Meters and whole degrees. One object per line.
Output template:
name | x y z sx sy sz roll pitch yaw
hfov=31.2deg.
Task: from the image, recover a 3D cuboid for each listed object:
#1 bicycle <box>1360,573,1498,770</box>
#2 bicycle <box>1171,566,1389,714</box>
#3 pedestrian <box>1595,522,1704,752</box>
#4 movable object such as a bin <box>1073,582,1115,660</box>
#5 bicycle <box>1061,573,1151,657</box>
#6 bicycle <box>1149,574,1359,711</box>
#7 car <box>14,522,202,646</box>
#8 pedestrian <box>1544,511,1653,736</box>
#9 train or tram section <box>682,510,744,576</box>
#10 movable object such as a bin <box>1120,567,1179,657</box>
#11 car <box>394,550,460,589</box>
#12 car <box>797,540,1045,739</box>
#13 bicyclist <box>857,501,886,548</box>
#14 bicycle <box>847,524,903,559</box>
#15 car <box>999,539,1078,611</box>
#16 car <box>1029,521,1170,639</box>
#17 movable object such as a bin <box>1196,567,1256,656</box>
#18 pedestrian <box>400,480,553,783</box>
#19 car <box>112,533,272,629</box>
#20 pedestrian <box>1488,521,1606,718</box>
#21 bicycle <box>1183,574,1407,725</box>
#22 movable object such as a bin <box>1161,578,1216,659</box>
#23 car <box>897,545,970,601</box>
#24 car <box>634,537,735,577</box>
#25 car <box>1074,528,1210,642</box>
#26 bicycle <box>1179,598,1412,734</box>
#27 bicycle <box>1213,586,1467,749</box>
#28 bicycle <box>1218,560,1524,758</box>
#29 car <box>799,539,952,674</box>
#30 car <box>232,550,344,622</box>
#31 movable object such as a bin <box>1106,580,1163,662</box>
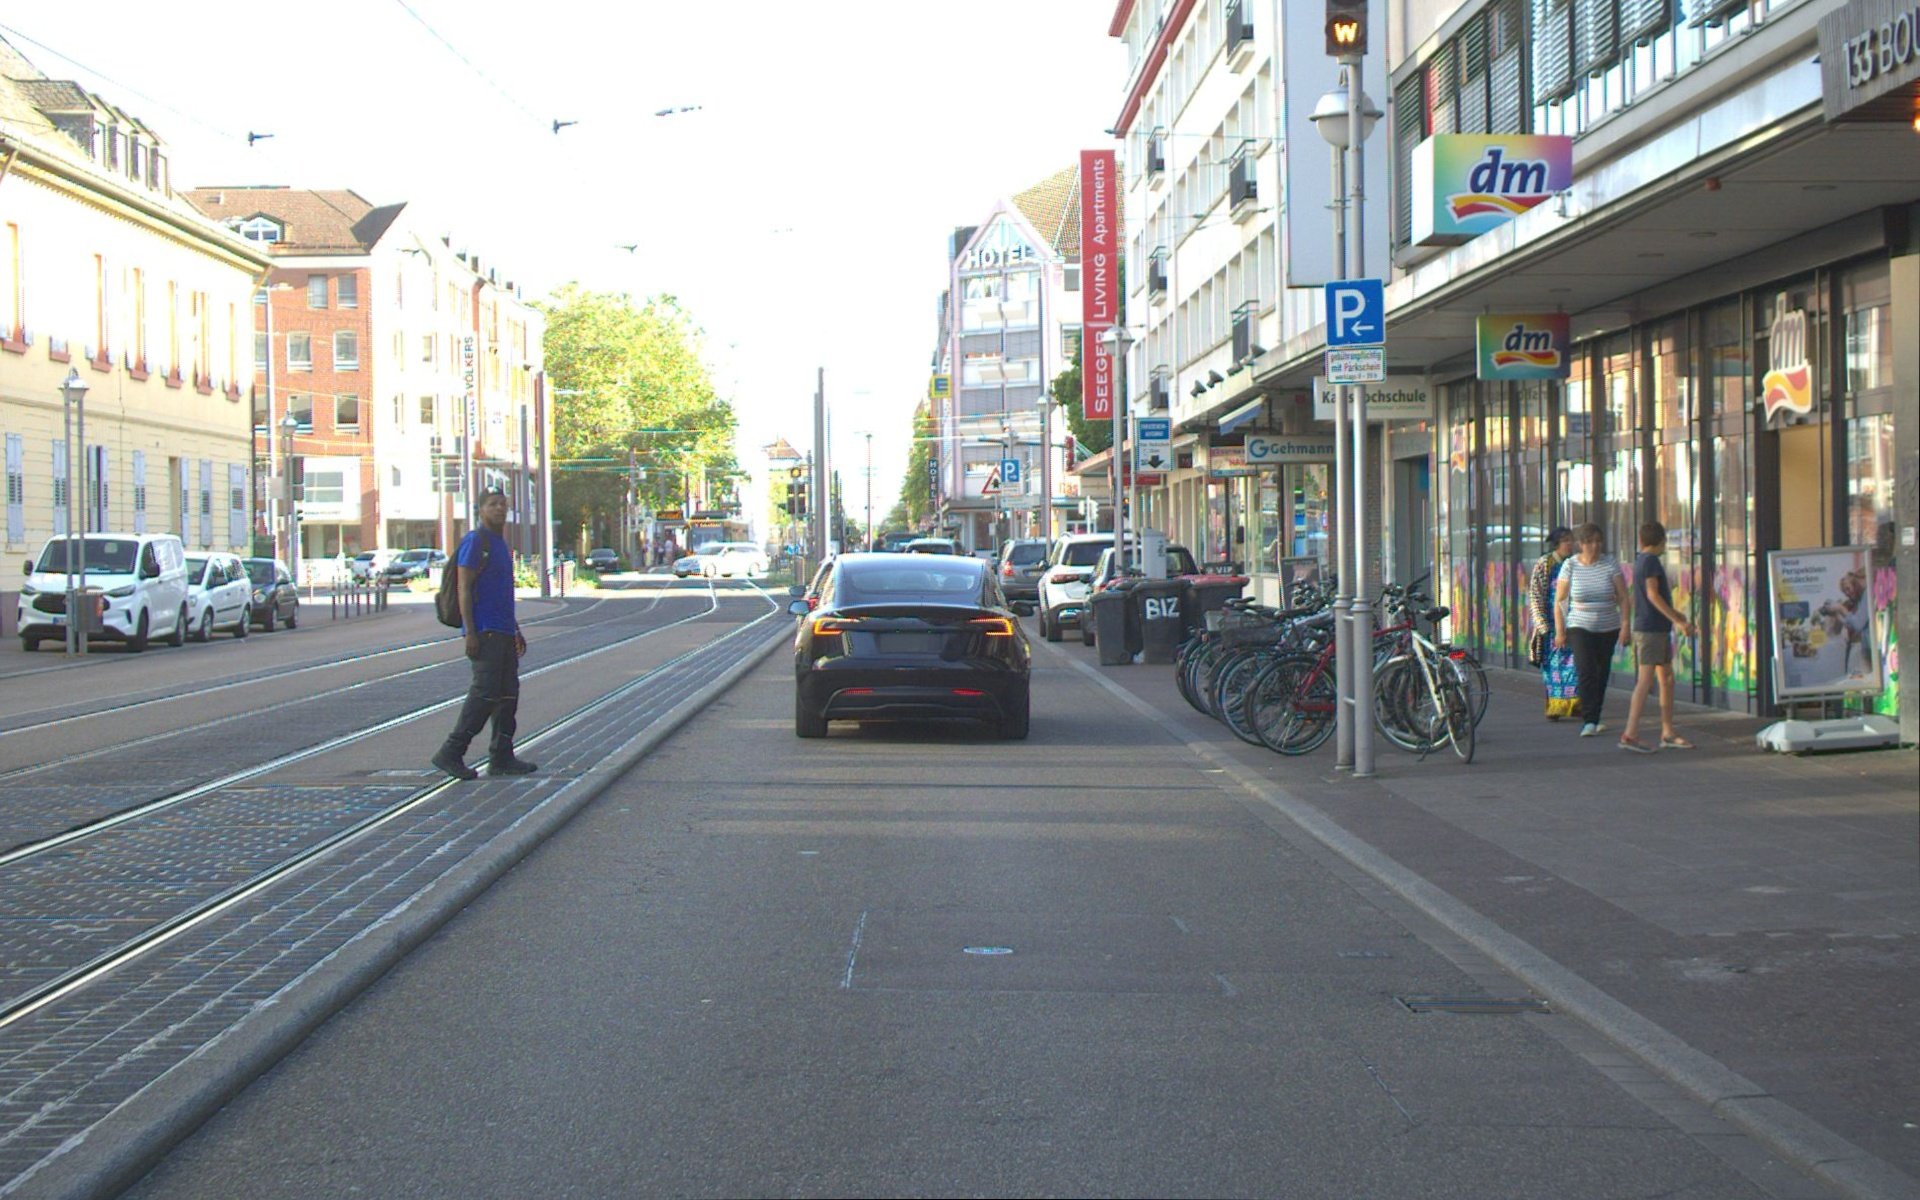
bicycle | 3.144 0.459 23.173 0.581 1.253 1.602 -3 1 -3
bicycle | 2.758 0.335 29.747 1.787 1.213 0.669 -2 1 -1
pedestrian | 4.589 0.238 22.907 0.523 1.488 0.583 -3 1 -2
movable object such as a bin | 1.676 0.259 43.046 0.487 0.955 0.457 -2 0 2
bicycle | 1.948 0.197 45.813 1.131 1.076 0.320 -2 1 -2
bicycle | 2.631 0.374 30.884 1.787 1.155 0.669 -2 1 -1
car | -14.302 -0.285 58.002 1.993 1.968 5.097 1 1 -1
pedestrian | 4.616 0.167 24.891 0.581 1.580 0.598 -3 1 -3
train or tram section | -14.546 -3.340 203.119 2.674 3.703 14.193 1 1 0
movable object such as a bin | 2.360 0.143 42.899 0.690 1.085 0.685 -2 1 2
car | -20.915 -1.211 134.958 1.903 1.459 4.000 1 1 1
car | -0.358 0.276 27.781 1.849 1.479 3.787 1 1 -2
bicyclist | -2.865 -2.447 111.367 0.836 1.494 0.560 1 0 -8
bicycle | -2.767 -1.895 111.373 1.727 1.084 0.678 1 0 -8
car | 1.872 -0.614 82.672 1.745 1.626 3.649 -2 1 0
car | 2.173 -0.327 54.915 1.849 1.718 5.193 -2 1 -1
movable object such as a bin | 3.312 0.138 42.813 0.690 1.085 0.666 -2 1 2
pedestrian | -3.013 0.187 21.491 0.804 1.831 0.746 -2 1 -2
car | -14.323 -0.366 64.348 1.808 1.680 4.648 1 1 2
pedestrian | 4.518 0.149 26.472 0.581 1.481 0.597 -3 1 -32
bicycle | 2.816 0.410 28.997 1.787 1.213 0.587 -2 1 -1
movable object such as a bin | 2.901 0.231 43.645 0.658 1.010 0.636 -1 1 2
car | -0.761 -0.764 97.306 1.783 1.514 4.219 1 1 -4
car | -12.128 -1.917 151.557 3.986 1.672 2.000 -1 1 -23
car | 2.588 -0.231 49.676 1.614 1.523 4.071 -2 1 -1
bicycle | 2.687 0.524 27.629 1.773 1.028 0.597 -2 1 -1
bicycle | 2.794 0.491 25.314 1.773 1.127 0.479 -2 1 -6
bicycle | 2.926 0.409 24.521 2.035 1.270 0.525 -4 1 -10
car | -0.931 0.040 39.564 1.653 1.413 4.000 1 1 0
car | -13.697 -0.292 70.251 1.614 1.396 3.720 1 1 -1
movable object such as a bin | 2.210 0.265 43.631 0.686 1.010 0.508 -1 1 2
